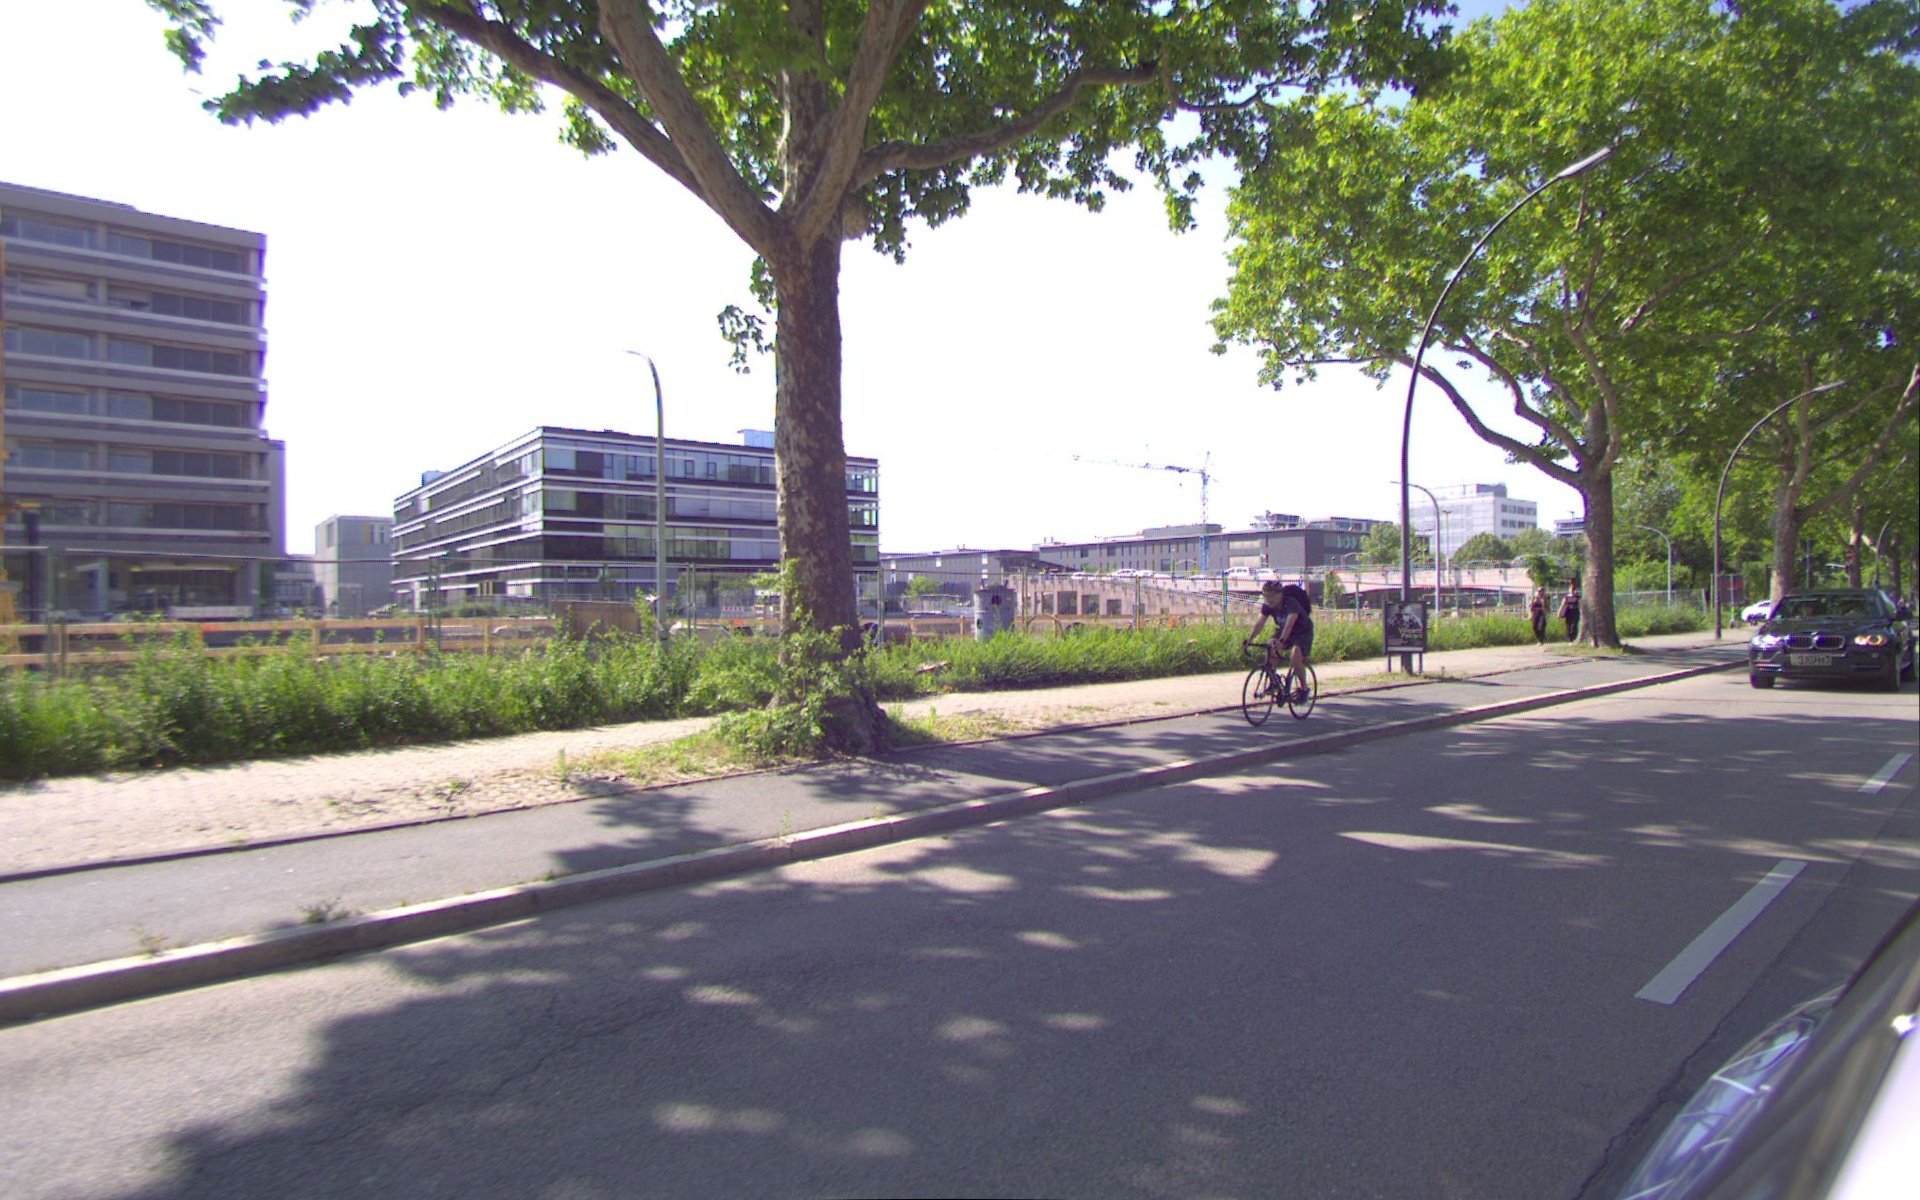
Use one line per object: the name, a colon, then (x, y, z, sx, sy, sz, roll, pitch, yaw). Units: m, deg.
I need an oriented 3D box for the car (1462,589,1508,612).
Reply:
car: (56.455, 0.053, 108.860, 1.778, 2.352, 3.990, 0, -1, -43)

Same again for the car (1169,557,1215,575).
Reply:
car: (22.228, -3.226, 97.148, 1.778, 1.529, 3.990, 0, -1, -43)

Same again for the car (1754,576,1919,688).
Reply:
car: (15.748, 0.521, 17.950, 4.081, 1.753, 1.921, 0, -2, -42)

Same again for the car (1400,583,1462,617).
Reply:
car: (40.205, 0.003, 86.466, 1.778, 2.774, 4.367, 0, -1, -43)

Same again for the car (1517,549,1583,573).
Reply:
car: (44.242, -2.907, 75.943, 1.778, 1.529, 3.990, 0, -1, -43)

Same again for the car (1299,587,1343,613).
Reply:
car: (38.722, 0.013, 108.550, 1.778, 2.774, 3.990, 0, -1, -43)

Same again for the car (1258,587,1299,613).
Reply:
car: (35.298, 0.050, 112.280, 1.778, 2.774, 3.990, 0, -1, -43)

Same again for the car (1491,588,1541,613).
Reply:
car: (55.158, 0.060, 100.468, 1.778, 2.352, 3.990, 0, -1, -43)

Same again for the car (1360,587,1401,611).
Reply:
car: (48.865, -0.079, 117.552, 1.778, 2.774, 3.990, 0, -1, -43)

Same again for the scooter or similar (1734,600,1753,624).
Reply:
scooter or similar: (37.970, 0.581, 49.055, 1.108, 1.136, 0.482, 0, -1, -41)

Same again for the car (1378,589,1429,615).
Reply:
car: (41.685, 0.188, 95.243, 1.778, 2.352, 3.990, 0, -1, -43)

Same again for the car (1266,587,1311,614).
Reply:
car: (33.754, 0.059, 103.948, 1.778, 2.774, 3.990, 0, -1, -43)

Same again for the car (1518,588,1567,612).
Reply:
car: (60.329, 0.012, 104.841, 1.778, 2.352, 3.990, 0, -1, -43)

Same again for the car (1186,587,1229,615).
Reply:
car: (25.228, 0.142, 103.289, 1.778, 2.774, 3.990, 0, -1, -43)

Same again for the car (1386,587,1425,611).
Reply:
car: (53.823, -0.124, 122.278, 1.778, 2.774, 3.990, 0, -1, -43)

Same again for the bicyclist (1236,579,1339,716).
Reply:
bicyclist: (3.847, 0.518, 11.862, 1.194, 1.508, 0.599, 0, 1, -42)

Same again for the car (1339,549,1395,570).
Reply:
car: (33.793, -3.349, 84.073, 1.778, 1.529, 3.990, 0, -1, -43)

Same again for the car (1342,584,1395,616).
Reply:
car: (36.595, 0.023, 90.699, 1.778, 2.774, 3.990, 0, -1, -43)

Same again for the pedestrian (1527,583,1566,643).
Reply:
pedestrian: (17.052, 0.370, 29.400, 0.943, 1.705, 0.696, 0, -2, -42)

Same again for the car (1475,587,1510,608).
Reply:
car: (73.856, -0.306, 140.366, 1.778, 2.774, 3.990, 0, -1, -43)

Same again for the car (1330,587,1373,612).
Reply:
car: (43.753, -0.032, 113.143, 1.778, 2.774, 3.990, 0, -1, -43)

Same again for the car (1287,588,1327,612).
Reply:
car: (40.137, 0.006, 117.042, 1.778, 2.774, 3.990, 0, -1, -43)

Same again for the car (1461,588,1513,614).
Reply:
car: (49.447, 0.111, 94.991, 1.778, 2.352, 3.990, 0, -1, -43)

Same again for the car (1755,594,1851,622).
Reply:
car: (46.020, 0.453, 55.375, 1.861, 1.426, 3.999, -1, -1, 0)

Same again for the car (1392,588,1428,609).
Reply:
car: (60.234, -0.177, 135.480, 1.778, 2.774, 3.990, 0, -1, -43)

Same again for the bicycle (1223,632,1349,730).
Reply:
bicycle: (3.856, 0.914, 11.889, 1.751, 0.992, 0.598, 0, 1, -42)

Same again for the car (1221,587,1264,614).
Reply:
car: (30.090, 0.097, 107.794, 1.778, 2.774, 3.990, 0, -1, -43)

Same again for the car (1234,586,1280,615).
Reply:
car: (28.984, 0.101, 98.908, 1.778, 2.774, 3.990, 0, -1, -43)

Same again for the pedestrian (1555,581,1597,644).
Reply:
pedestrian: (17.463, 0.339, 28.685, 1.048, 1.746, 0.710, 0, -1, -42)

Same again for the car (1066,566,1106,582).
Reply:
car: (13.339, -2.701, 107.380, 1.778, 1.529, 3.990, 0, -1, -43)

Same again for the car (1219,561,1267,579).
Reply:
car: (26.801, -2.854, 95.869, 1.778, 1.529, 3.990, 0, -1, -43)

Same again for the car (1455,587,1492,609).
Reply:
car: (68.945, -0.262, 135.958, 1.778, 2.774, 3.990, 0, -1, -43)

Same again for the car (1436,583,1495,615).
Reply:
car: (45.410, -0.045, 91.012, 1.778, 2.774, 4.367, 0, -1, -43)
